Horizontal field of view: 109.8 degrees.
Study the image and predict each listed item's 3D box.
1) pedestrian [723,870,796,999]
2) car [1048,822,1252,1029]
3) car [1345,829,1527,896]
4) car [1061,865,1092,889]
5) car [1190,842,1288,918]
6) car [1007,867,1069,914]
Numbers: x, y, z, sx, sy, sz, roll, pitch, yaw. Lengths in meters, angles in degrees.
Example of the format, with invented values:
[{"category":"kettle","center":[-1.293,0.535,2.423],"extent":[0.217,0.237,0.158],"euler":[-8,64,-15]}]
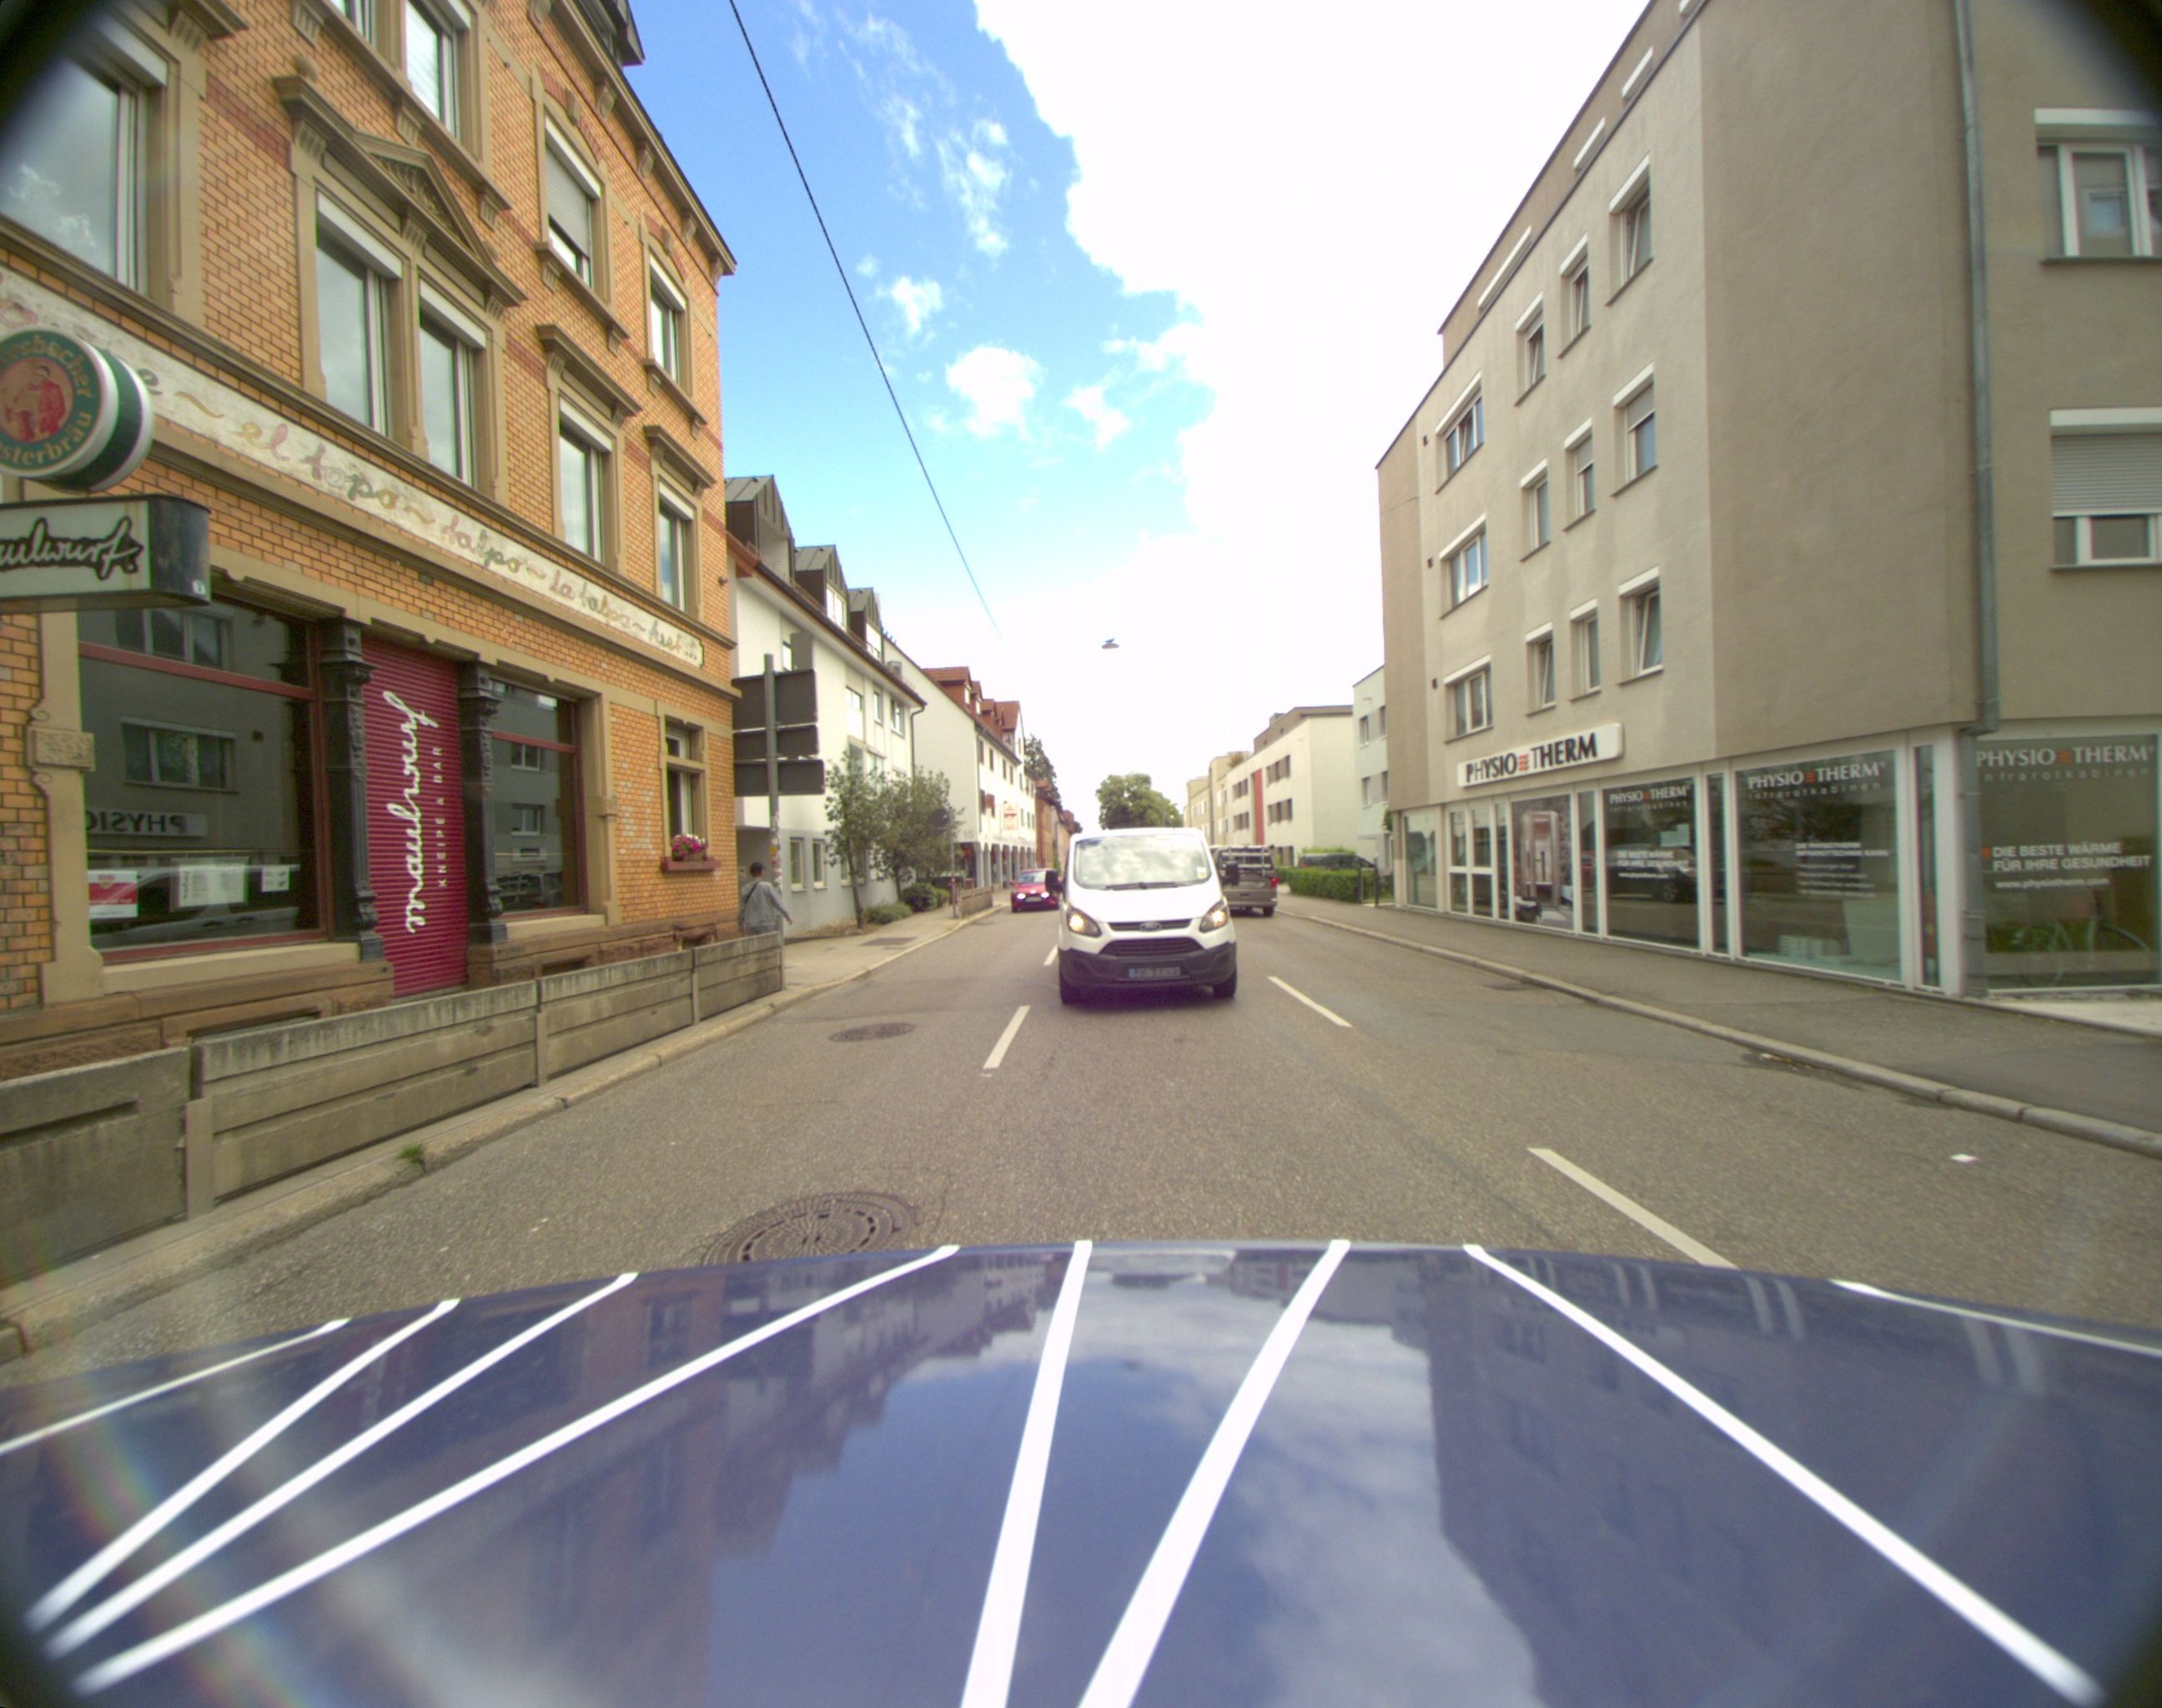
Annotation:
[{"category":"pedestrian","center":[-4.464,1.094,10.585],"extent":[0.690,1.720,0.650],"euler":[-2,0,0]},{"category":"car","center":[0.694,0.716,10.066],"extent":[1.965,1.986,5.087],"euler":[-2,0,0]},{"category":"car","center":[11.720,0.286,25.365],"extent":[5.082,1.986,1.967],"euler":[-2,0,4]},{"category":"car","center":[-0.311,1.704,58.174],"extent":[1.998,1.537,4.572],"euler":[-4,0,3]},{"category":"car","center":[4.487,0.689,22.303],"extent":[1.964,1.986,4.761],"euler":[0,0,1]},{"category":"car","center":[-1.524,1.282,28.105],"extent":[1.702,1.444,4.001],"euler":[-4,0,4]}]
